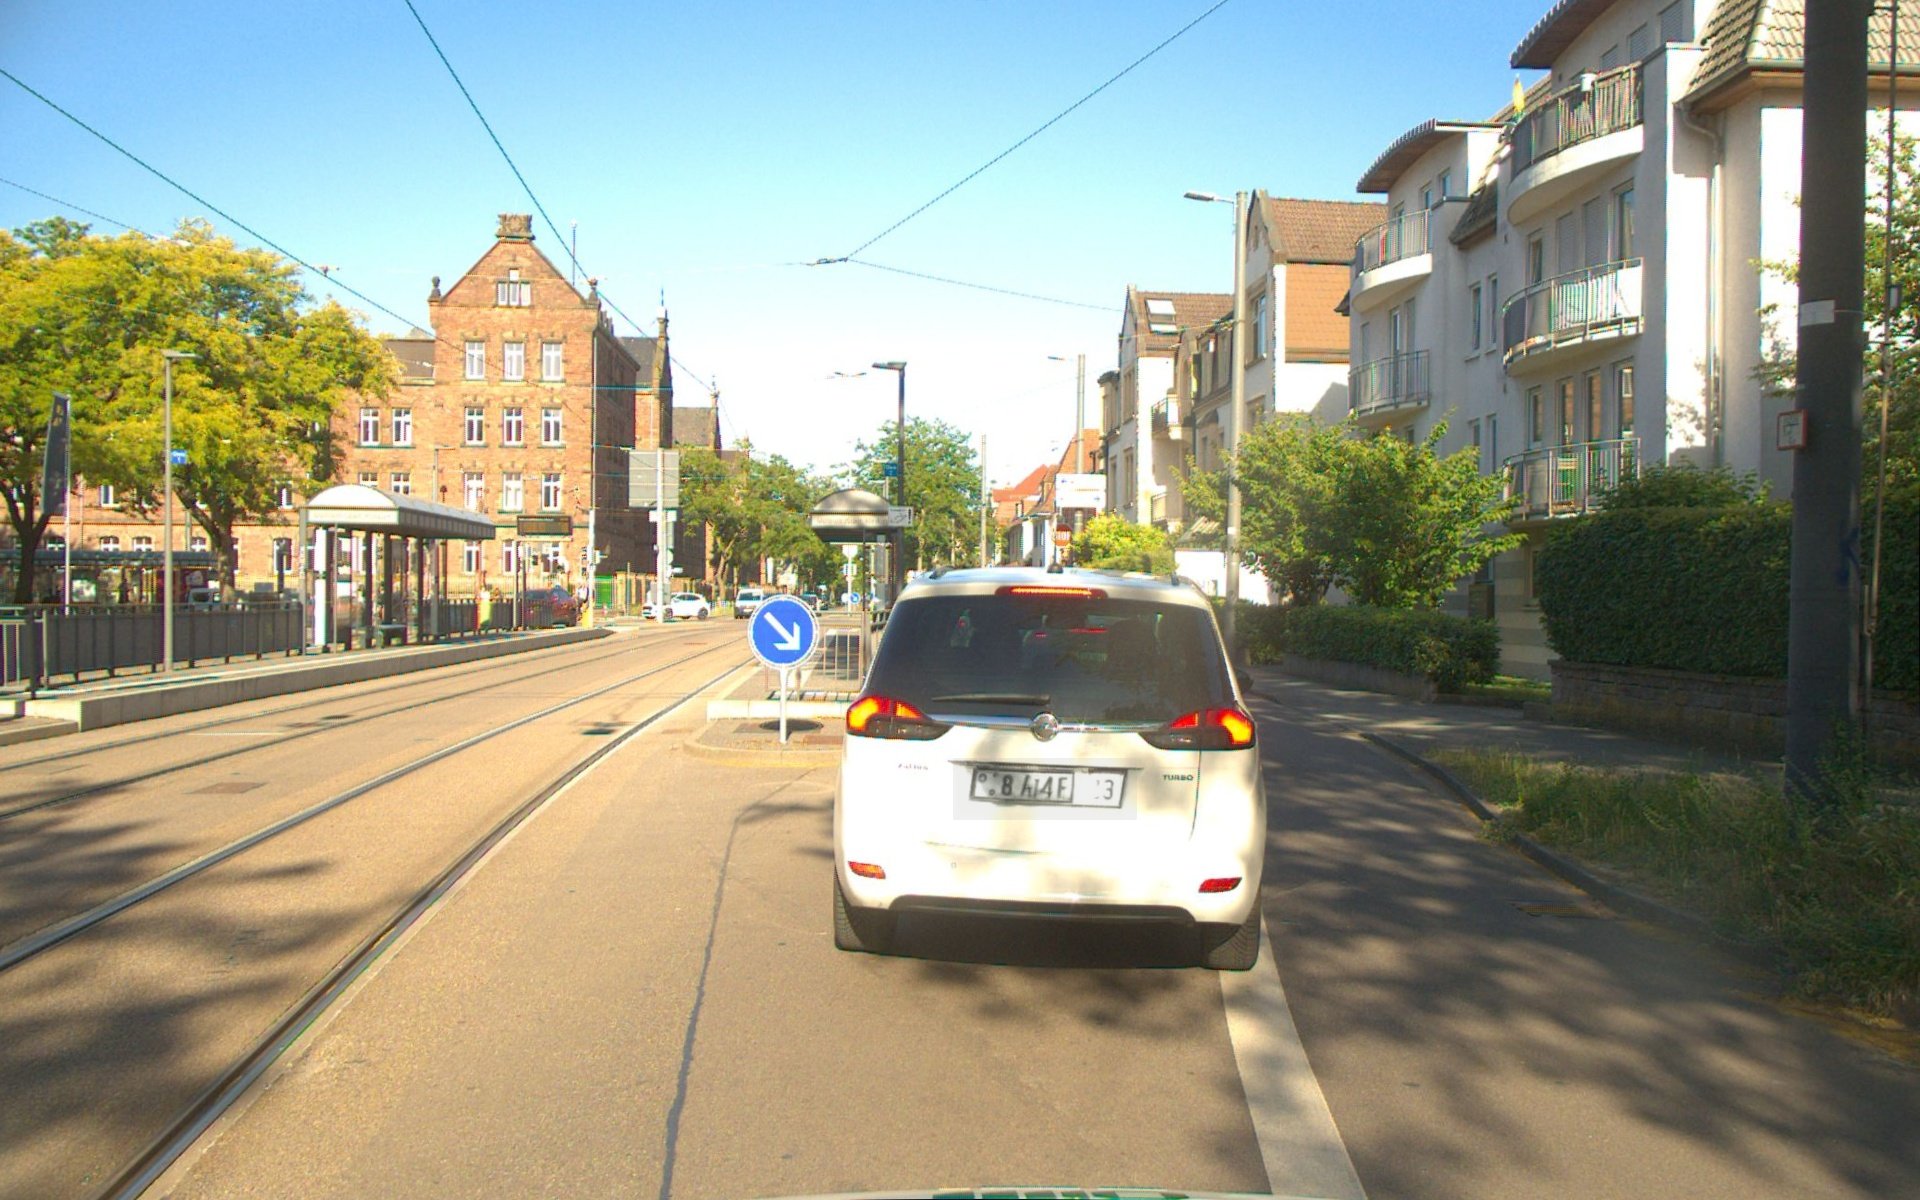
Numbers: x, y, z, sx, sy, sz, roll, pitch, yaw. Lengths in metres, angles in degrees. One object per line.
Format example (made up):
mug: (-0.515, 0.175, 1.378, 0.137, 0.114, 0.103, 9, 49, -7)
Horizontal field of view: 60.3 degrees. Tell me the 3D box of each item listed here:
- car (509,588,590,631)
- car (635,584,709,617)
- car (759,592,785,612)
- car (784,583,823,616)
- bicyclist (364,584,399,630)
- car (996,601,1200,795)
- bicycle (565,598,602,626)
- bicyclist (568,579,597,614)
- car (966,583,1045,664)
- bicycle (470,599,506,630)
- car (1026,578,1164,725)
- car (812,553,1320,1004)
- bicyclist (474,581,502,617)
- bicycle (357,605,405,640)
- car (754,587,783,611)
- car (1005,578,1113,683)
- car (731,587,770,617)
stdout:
car: (-16.222, 0.358, 65.559, 1.779, 1.635, 4.362, 0, 0, 5)
car: (-16.385, 0.045, 94.352, 1.675, 1.841, 3.973, 0, 0, 44)
car: (-14.601, 0.193, 128.694, 1.791, 1.471, 4.323, 1, -1, -4)
car: (-9.711, -0.041, 102.851, 1.952, 2.049, 4.001, 0, 0, 1)
bicyclist: (-18.938, 0.209, 54.134, 0.639, 1.485, 1.153, 0, 0, 5)
car: (1.226, 0.761, 14.788, 1.536, 1.426, 3.786, 2, 0, 5)
bicycle: (-17.208, 0.517, 75.550, 0.760, 1.252, 2.090, 0, 0, 15)
bicyclist: (-17.222, -0.145, 75.518, 0.744, 1.563, 1.349, -1, 0, 16)
car: (0.973, 0.499, 37.046, 1.563, 1.663, 3.900, 2, 0, -1)
bicycle: (-19.500, 0.581, 68.332, 0.798, 1.219, 1.954, 0, 0, 4)
car: (1.715, 0.588, 21.047, 1.536, 1.643, 3.786, 2, 0, 5)
car: (0.545, 0.638, 8.086, 1.838, 1.613, 4.002, 1, 0, 5)
bicyclist: (-19.496, -0.050, 68.325, 0.740, 1.496, 1.191, 0, 1, 5)
bicycle: (-18.941, 0.730, 54.152, 0.670, 1.108, 2.065, 0, 0, 5)
car: (-13.912, -0.055, 120.482, 1.790, 1.645, 4.325, 1, -1, -3)
car: (1.686, 0.490, 29.183, 1.563, 1.663, 3.900, 2, 0, -1)
car: (-12.975, 0.120, 102.583, 1.789, 1.819, 4.256, 0, 0, 2)
